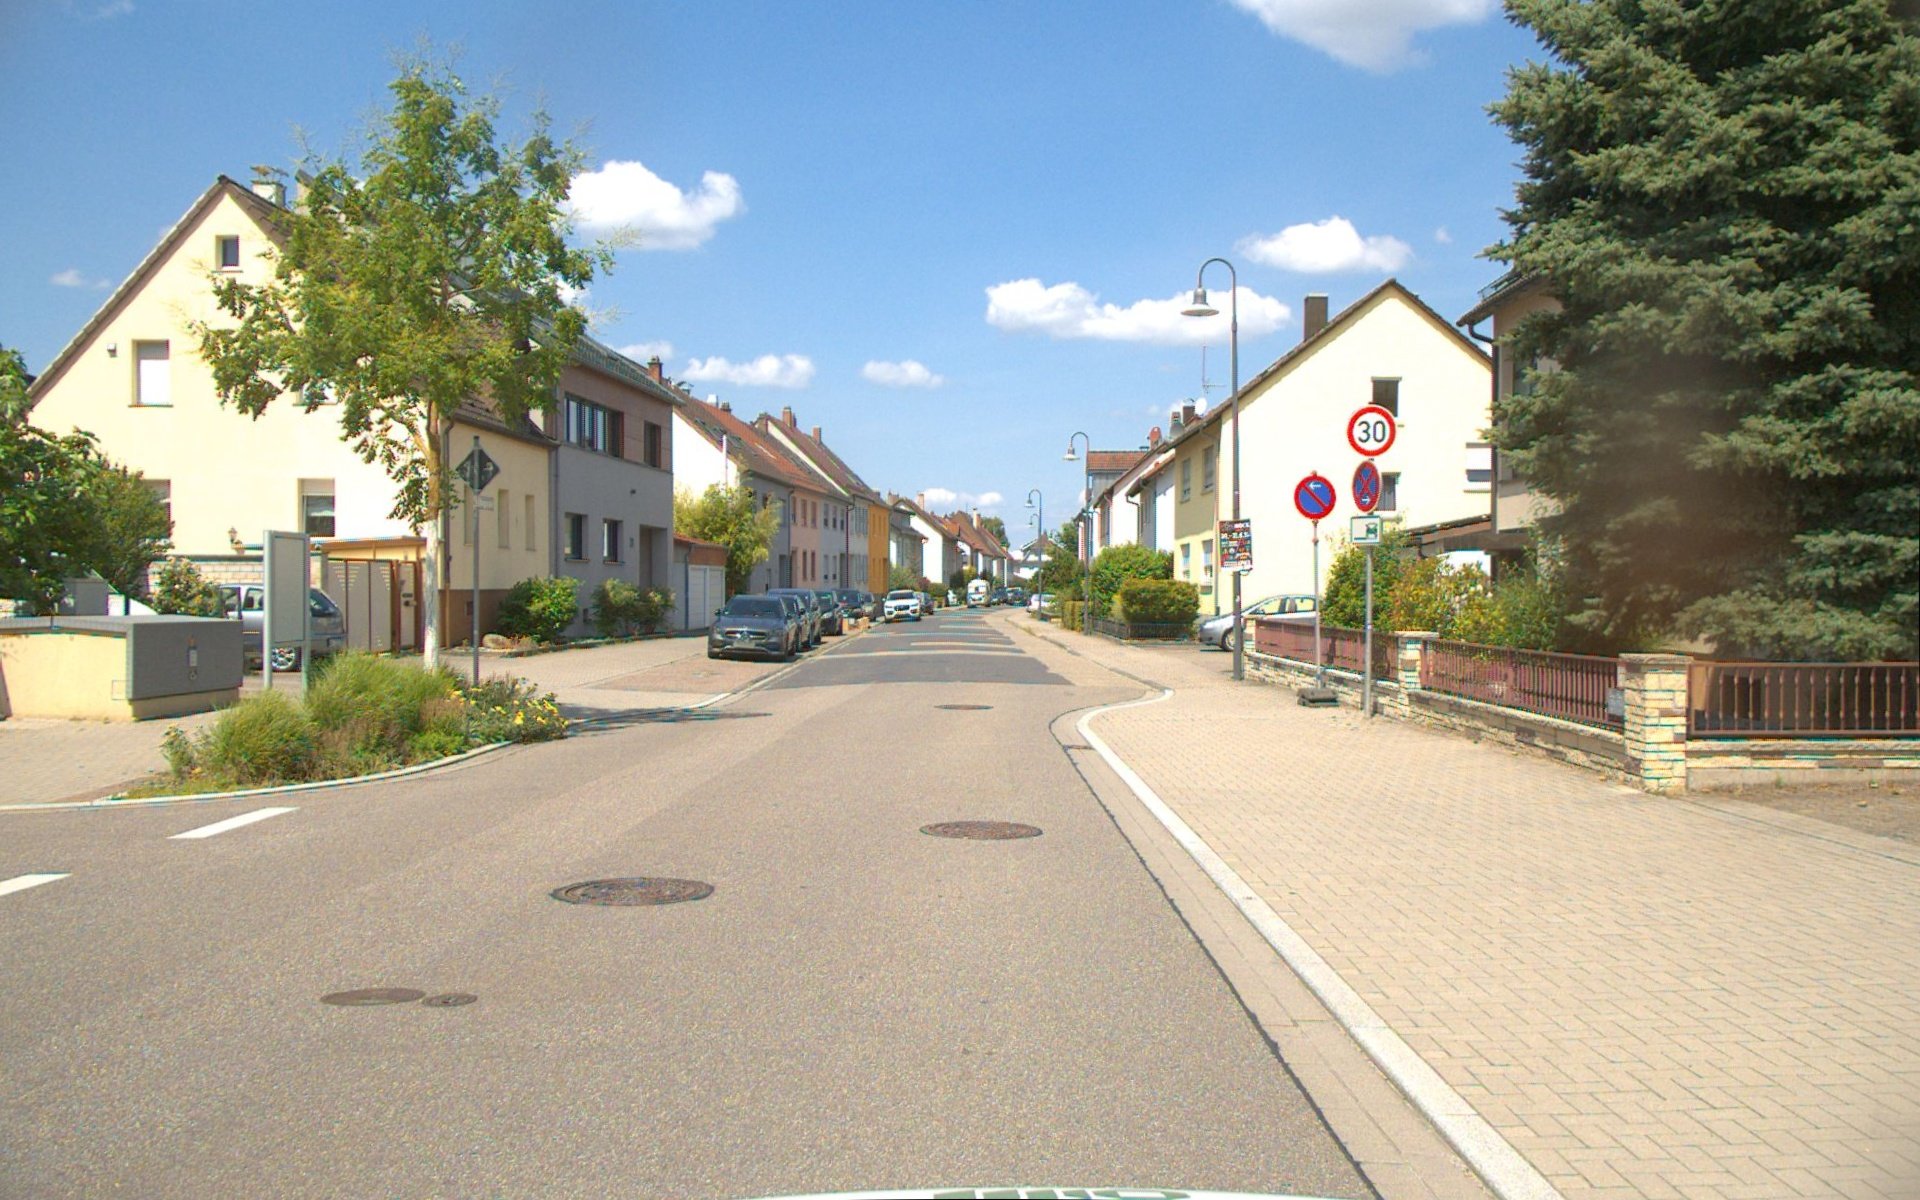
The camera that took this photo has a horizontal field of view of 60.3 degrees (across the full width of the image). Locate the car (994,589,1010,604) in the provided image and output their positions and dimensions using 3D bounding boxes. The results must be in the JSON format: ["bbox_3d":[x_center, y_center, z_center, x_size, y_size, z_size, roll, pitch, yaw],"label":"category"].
[{"bbox_3d":[4.778,-0.398,187.371,1.656,1.689,3.773,2,0,4],"label":"car"}]

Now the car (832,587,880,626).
[{"bbox_3d":[-4.679,0.268,74.869,1.773,1.637,4.000,2,0,1],"label":"car"}]

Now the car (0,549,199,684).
[{"bbox_3d":[-13.486,0.188,24.004,3.904,1.831,2.001,2,1,1],"label":"car"}]

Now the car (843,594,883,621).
[{"bbox_3d":[-5.088,0.387,87.044,1.637,1.359,3.724,2,0,3],"label":"car"}]

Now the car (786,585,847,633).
[{"bbox_3d":[-5.170,0.318,60.088,1.743,1.637,4.000,2,0,1],"label":"car"}]

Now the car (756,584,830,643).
[{"bbox_3d":[-5.051,0.387,50.403,1.743,1.637,4.000,2,0,1],"label":"car"}]

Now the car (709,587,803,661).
[{"bbox_3d":[-4.768,0.525,39.102,1.780,1.458,4.138,4,1,-2],"label":"car"}]

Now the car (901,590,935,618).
[{"bbox_3d":[-2.747,0.253,109.032,1.811,1.688,4.001,2,0,3],"label":"car"}]

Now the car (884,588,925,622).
[{"bbox_3d":[-2.919,0.260,88.015,1.811,1.688,4.001,2,0,3],"label":"car"}]

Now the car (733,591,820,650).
[{"bbox_3d":[-4.906,0.517,44.729,1.779,1.458,4.140,2,0,1],"label":"car"}]

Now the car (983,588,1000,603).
[{"bbox_3d":[3.432,-0.474,179.904,1.656,1.530,3.773,2,0,4],"label":"car"}]

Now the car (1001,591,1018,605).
[{"bbox_3d":[5.159,-0.177,172.159,1.656,1.365,3.773,2,0,4],"label":"car"}]

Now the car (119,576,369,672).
[{"bbox_3d":[-12.176,0.383,28.264,3.450,1.496,1.793,2,1,4],"label":"car"}]

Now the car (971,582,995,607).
[{"bbox_3d":[2.218,-0.508,157.843,2.002,2.352,3.773,1,0,4],"label":"car"}]

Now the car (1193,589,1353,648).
[{"bbox_3d":[8.206,0.469,43.635,3.905,1.499,1.746,0,0,0],"label":"car"}]

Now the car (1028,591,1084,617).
[{"bbox_3d":[5.999,0.266,103.819,3.451,1.489,1.628,2,-1,1],"label":"car"}]
